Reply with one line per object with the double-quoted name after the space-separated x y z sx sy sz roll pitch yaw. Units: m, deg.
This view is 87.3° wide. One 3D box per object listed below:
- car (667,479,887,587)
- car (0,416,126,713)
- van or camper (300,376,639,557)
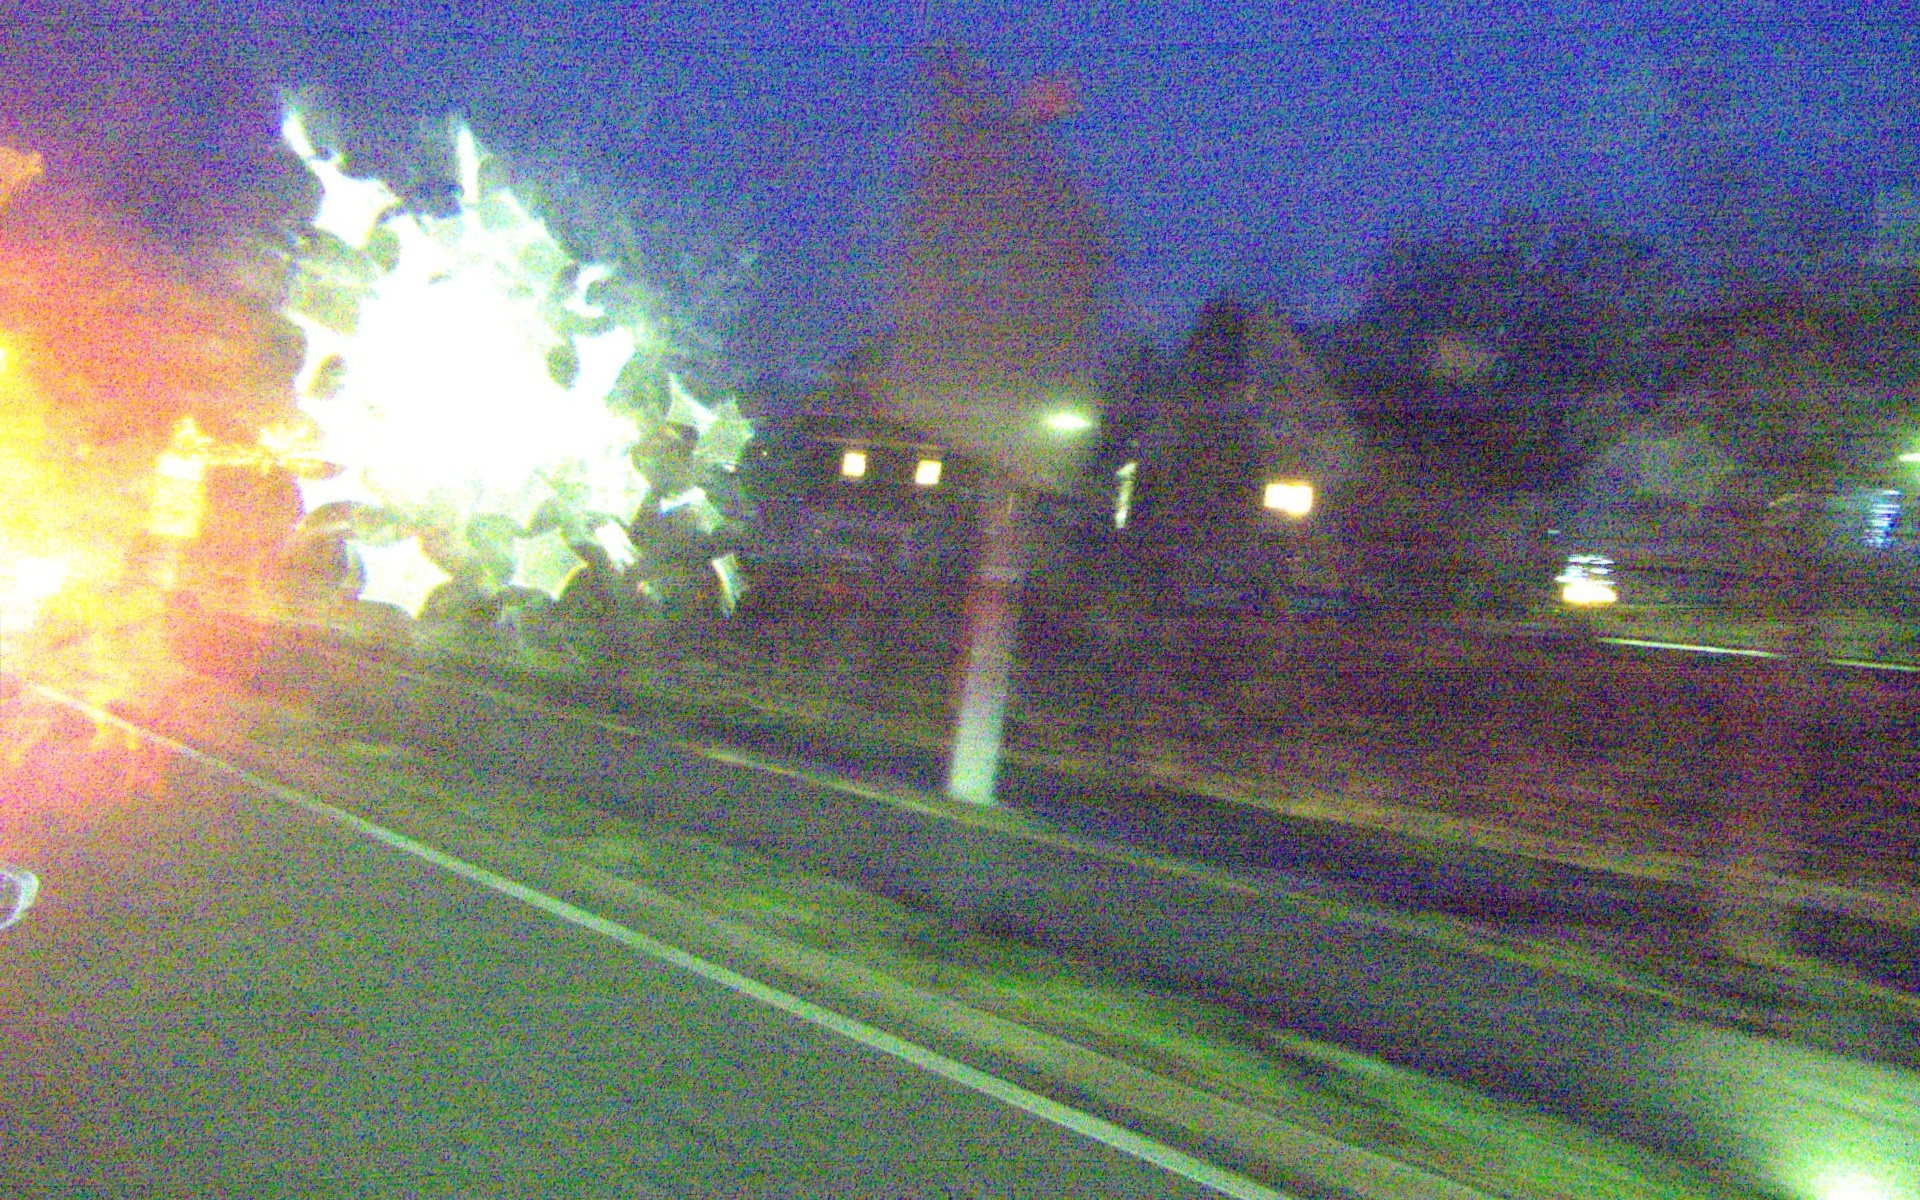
-3.804 -1.384 21.021 4.056 1.637 1.643 7 -1 17 "car"
-8.427 -0.482 7.539 4.148 1.995 1.946 7 -1 31 "car"
-10.607 -2.872 21.894 6.238 2.943 2.590 7 -1 16 "van or camper"
